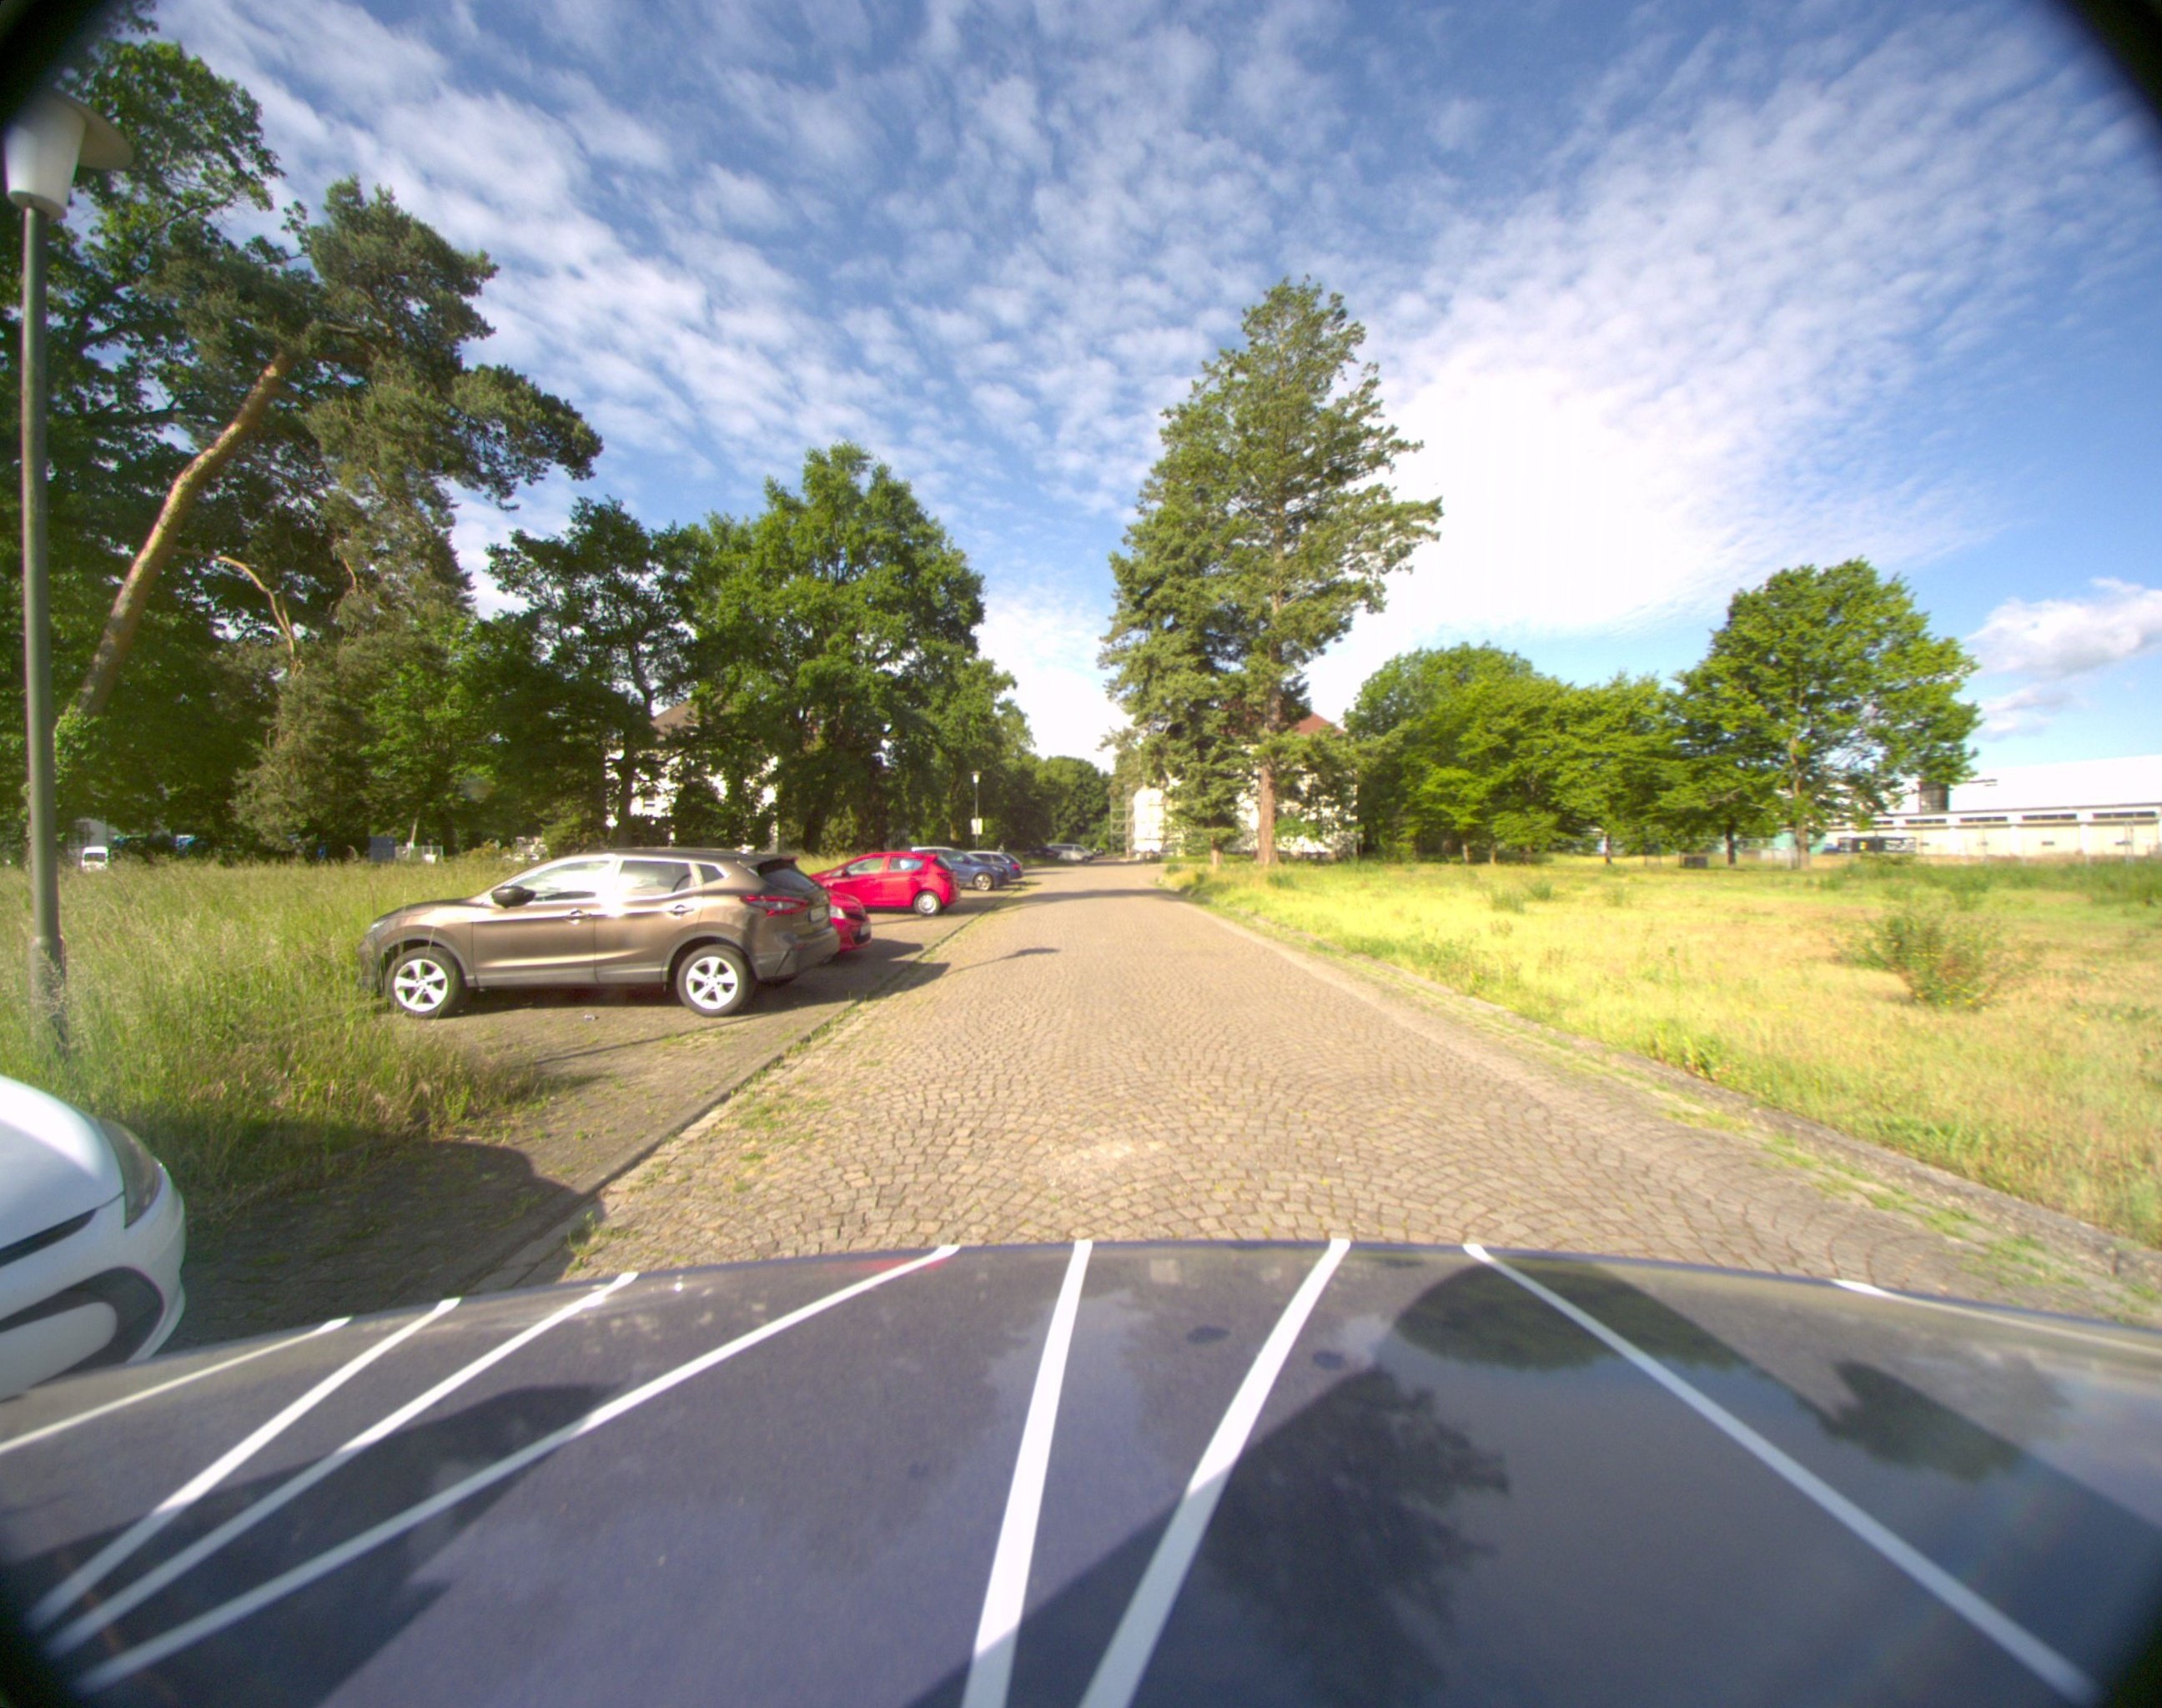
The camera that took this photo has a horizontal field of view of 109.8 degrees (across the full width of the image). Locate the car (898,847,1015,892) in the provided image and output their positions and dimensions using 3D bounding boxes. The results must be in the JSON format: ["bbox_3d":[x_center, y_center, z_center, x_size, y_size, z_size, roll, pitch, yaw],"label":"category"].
[{"bbox_3d":[-4.587,0.558,28.438,4.098,1.548,1.852,1,1,-2],"label":"car"}]

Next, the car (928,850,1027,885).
[{"bbox_3d":[-4.455,0.582,33.125,4.098,1.415,1.784,1,1,-2],"label":"car"}]

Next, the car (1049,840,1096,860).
[{"bbox_3d":[-0.961,-0.431,81.897,4.933,2.002,1.998,1,1,-6],"label":"car"}]

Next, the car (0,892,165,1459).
[{"bbox_3d":[-5.233,0.894,1.515,4.409,1.568,1.939,1,1,-1],"label":"car"}]

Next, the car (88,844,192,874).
[{"bbox_3d":[-68.283,0.315,55.231,1.906,1.928,4.394,-2,2,1],"label":"car"}]

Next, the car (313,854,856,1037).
[{"bbox_3d":[-4.716,0.818,7.816,4.237,1.589,1.934,0,2,-3],"label":"car"}]

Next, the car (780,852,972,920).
[{"bbox_3d":[-4.782,0.732,18.216,4.098,1.451,1.852,1,1,-2],"label":"car"}]

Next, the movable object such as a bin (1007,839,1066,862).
[{"bbox_3d":[-4.029,-0.326,68.911,4.865,2.002,2.002,-1,1,13],"label":"movable object such as a bin"}]

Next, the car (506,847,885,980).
[{"bbox_3d":[-5.073,0.746,10.520,4.237,1.589,1.934,1,2,-3],"label":"car"}]
